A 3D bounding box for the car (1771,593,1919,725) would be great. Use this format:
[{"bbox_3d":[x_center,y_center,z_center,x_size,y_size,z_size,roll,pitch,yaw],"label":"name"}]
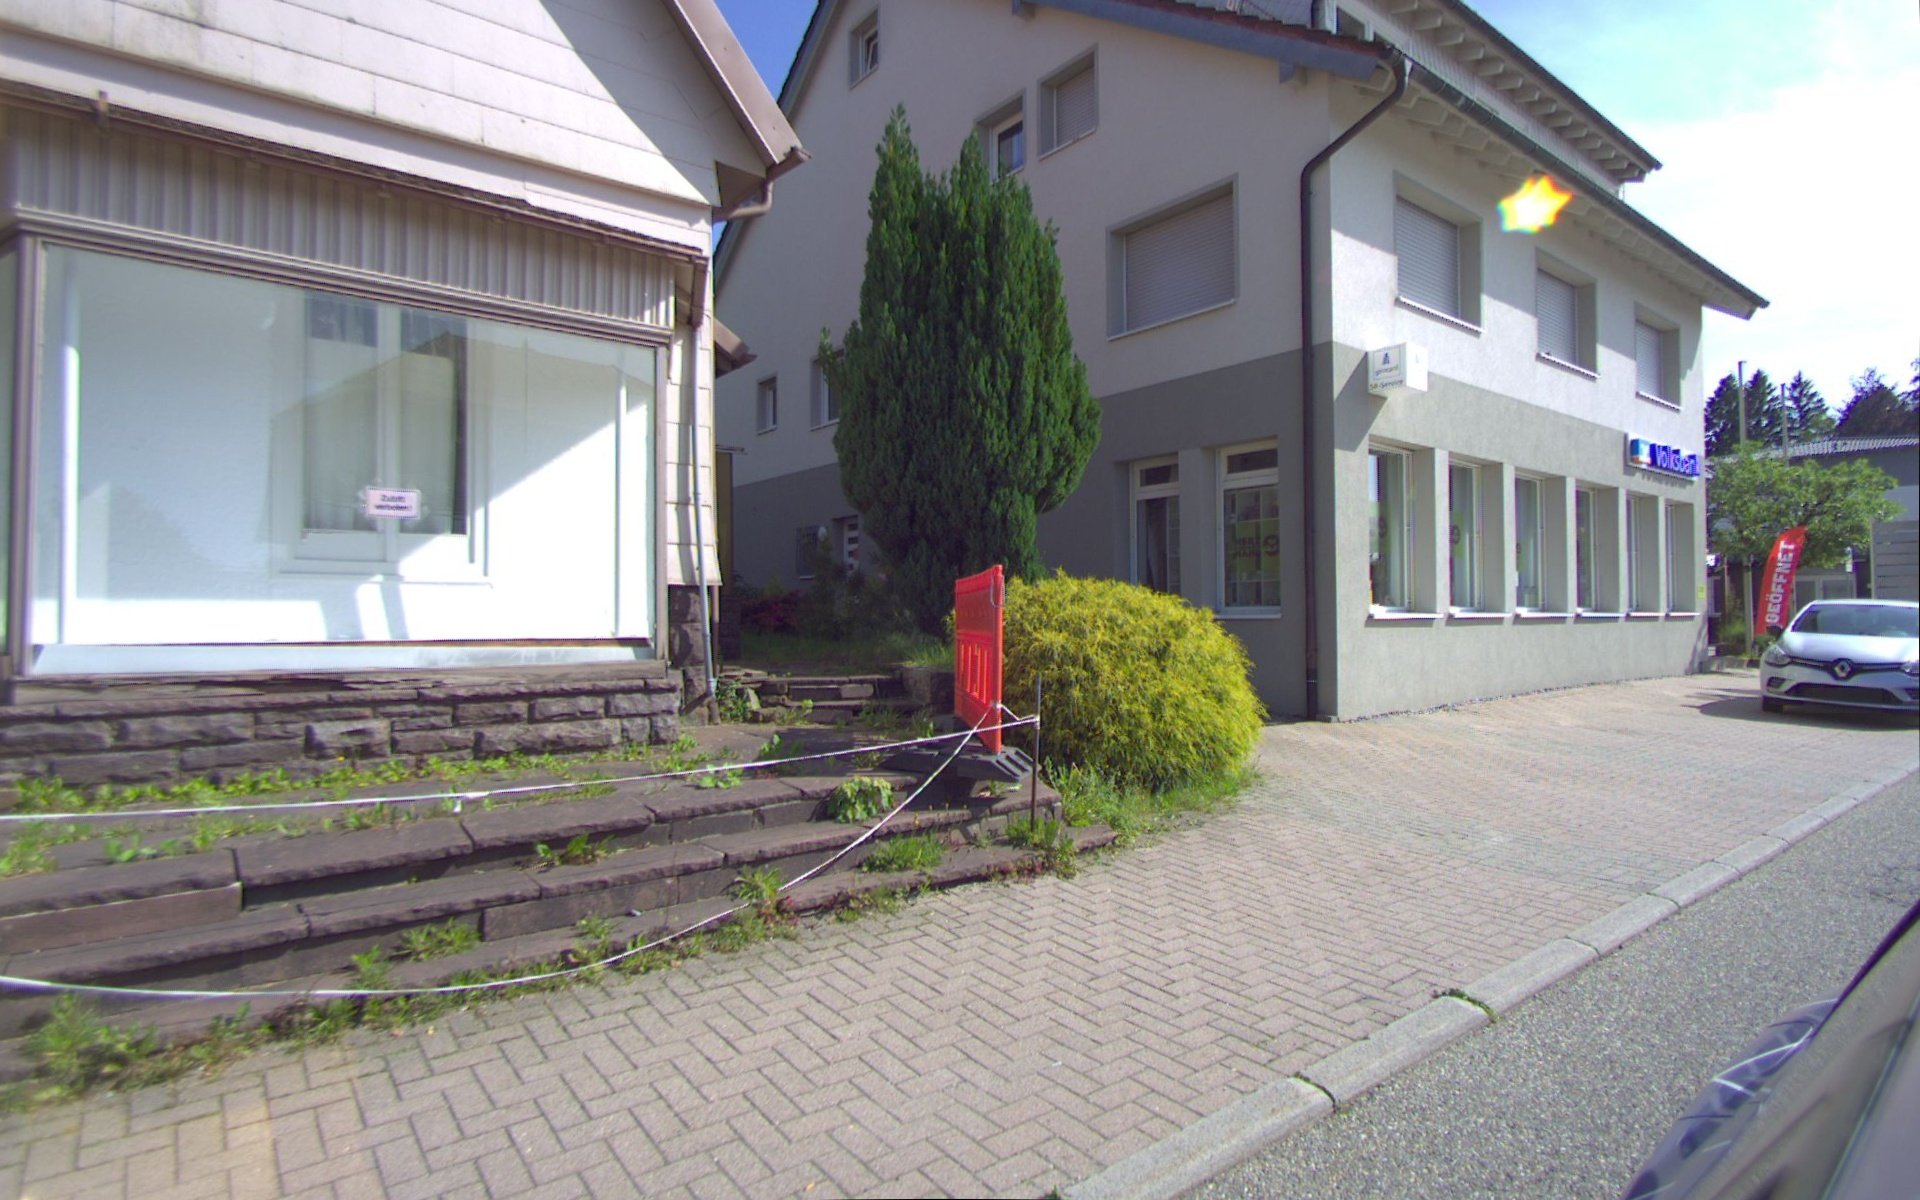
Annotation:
[{"bbox_3d":[11.663,0.644,12.816,3.869,1.437,1.637,0,1,-43],"label":"car"}]
